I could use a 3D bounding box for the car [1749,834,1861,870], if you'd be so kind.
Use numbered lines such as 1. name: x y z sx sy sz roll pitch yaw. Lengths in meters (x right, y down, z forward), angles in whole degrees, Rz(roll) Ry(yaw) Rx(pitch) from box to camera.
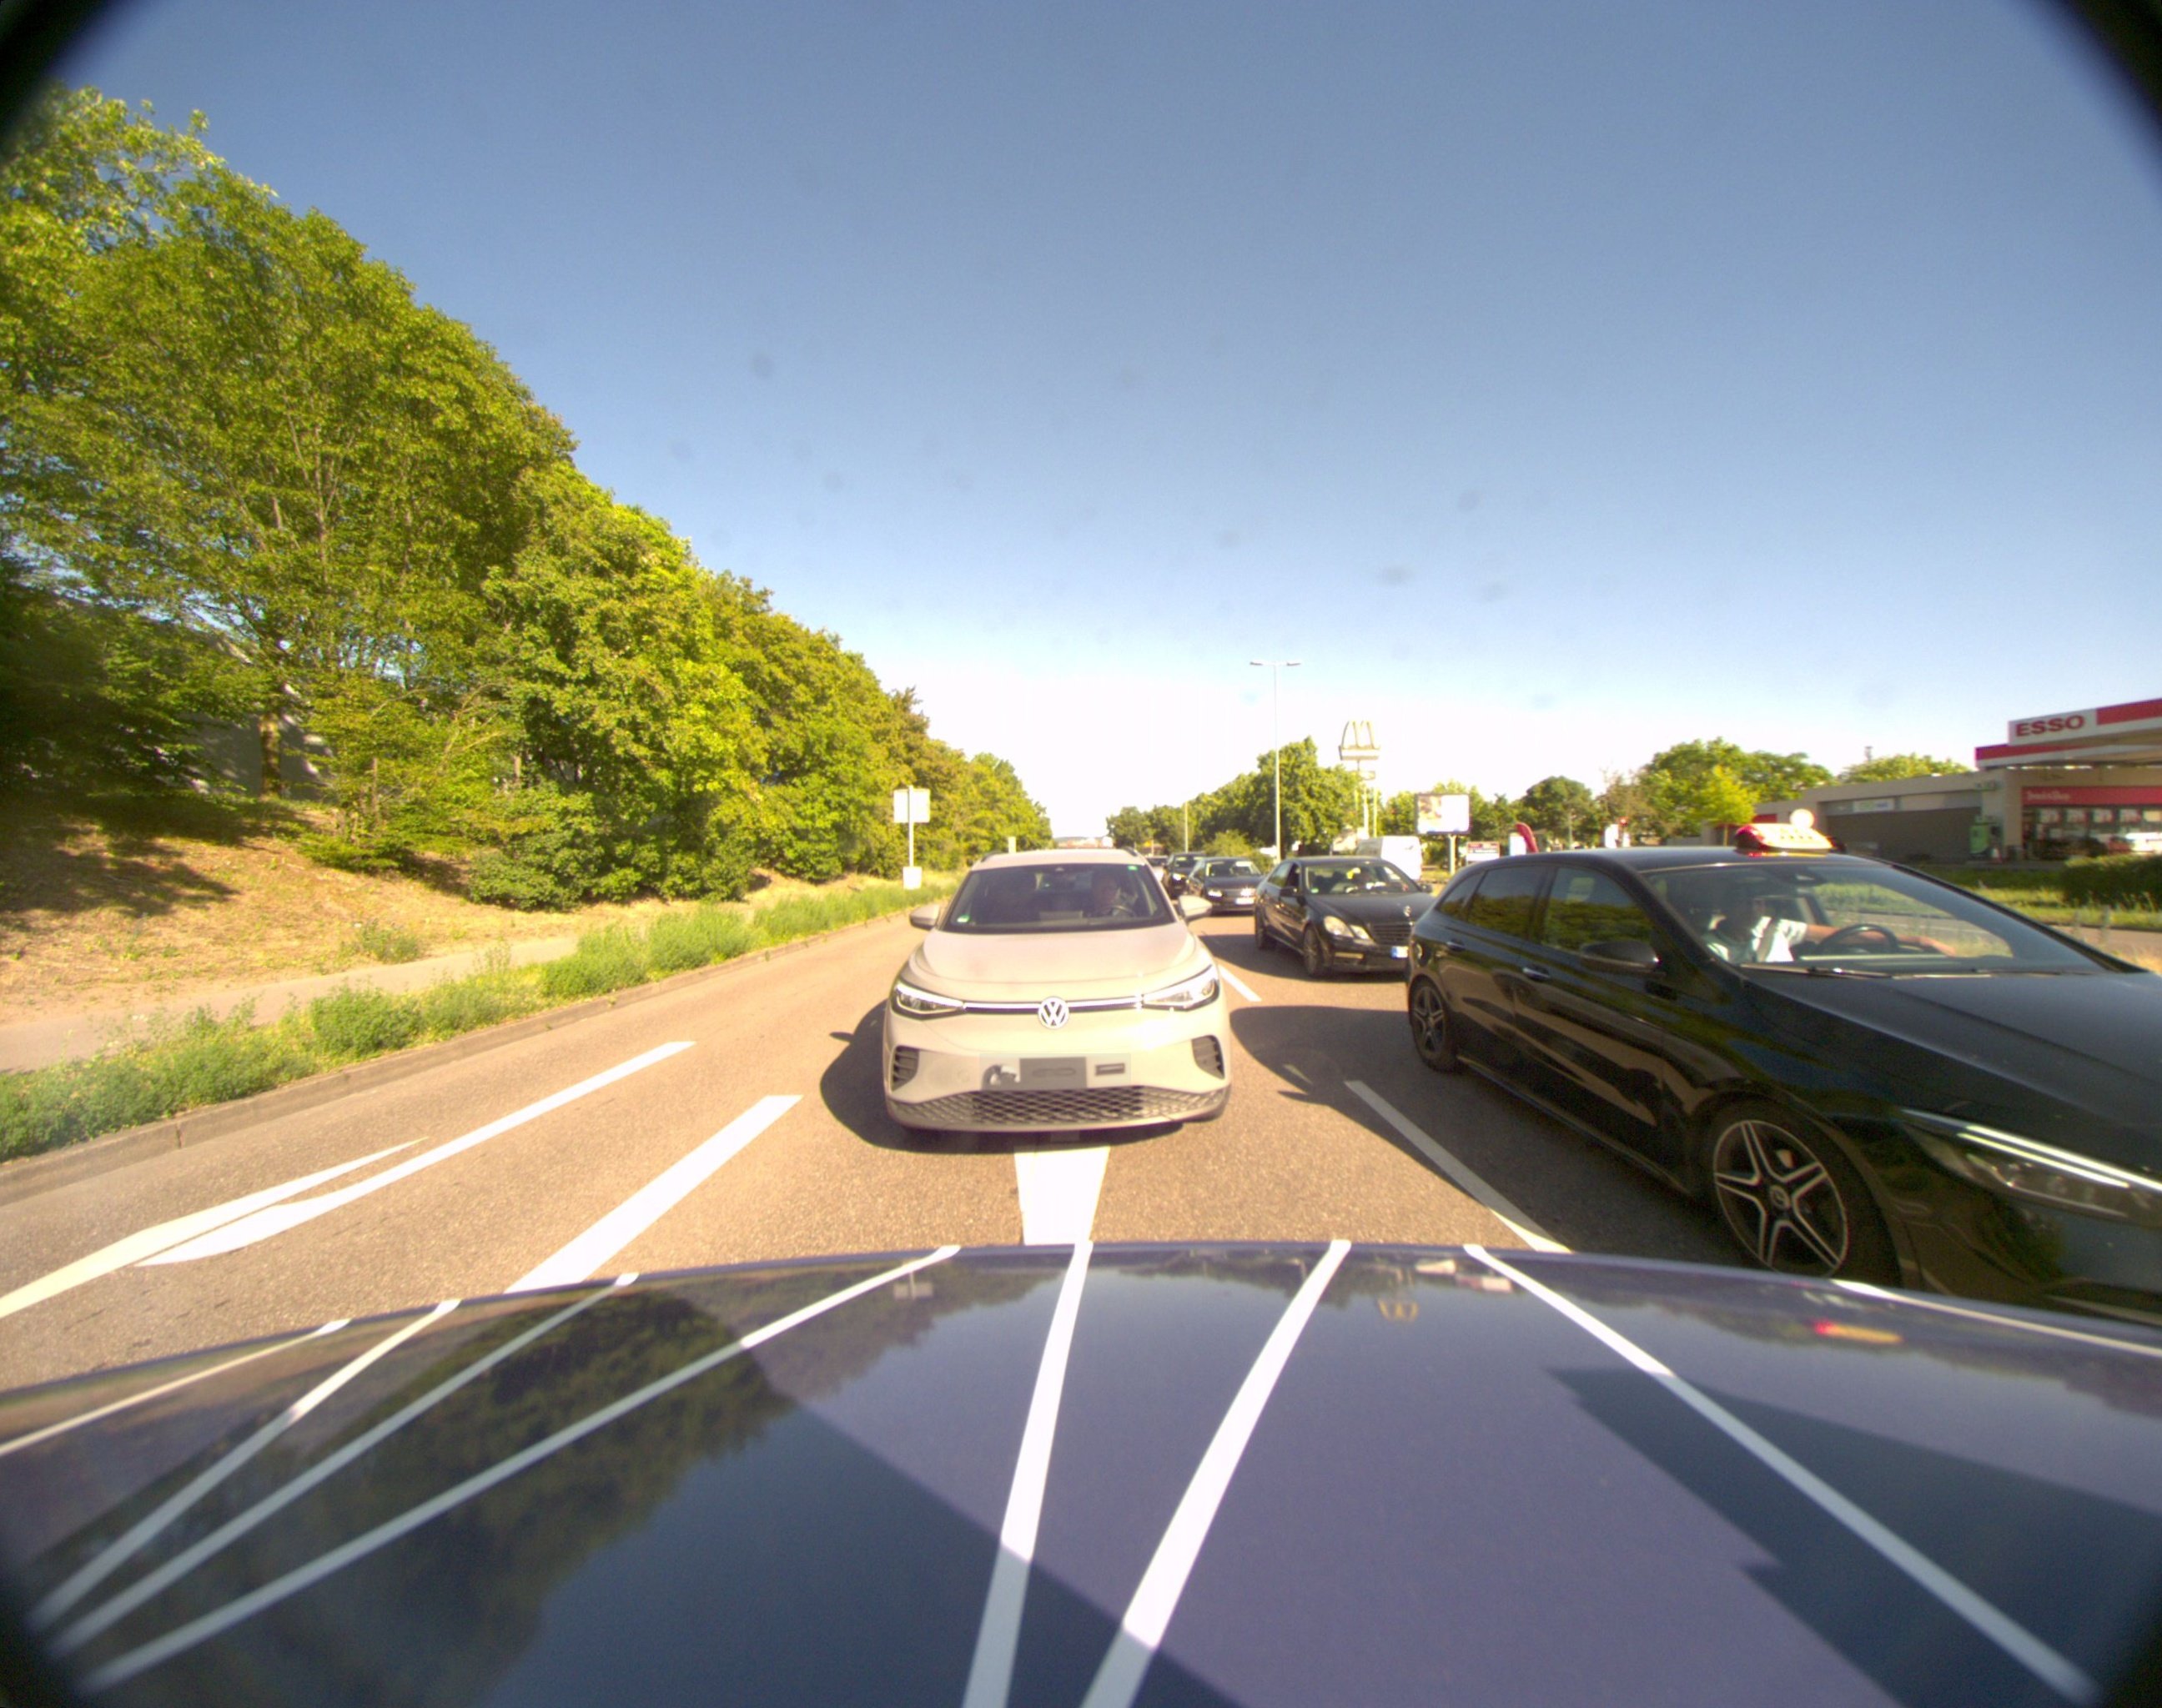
1. car: 37.696 -0.097 39.731 1.998 1.759 4.118 -2 0 2

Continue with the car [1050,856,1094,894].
1. car: -0.350 0.885 33.260 1.765 1.503 3.760 -2 0 1

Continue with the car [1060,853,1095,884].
1. car: -0.160 0.750 40.845 1.765 1.503 3.760 -2 0 1

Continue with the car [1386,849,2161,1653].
1. car: 3.153 0.808 3.611 1.804 1.616 4.188 -1 0 2

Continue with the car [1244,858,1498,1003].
1. car: 3.631 0.849 10.485 1.862 1.515 4.403 -1 0 1

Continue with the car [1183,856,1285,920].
1. car: 3.941 0.827 20.279 1.862 1.472 4.403 -1 0 1

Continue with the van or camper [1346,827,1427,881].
1. van or camper: 15.703 -0.015 39.510 2.182 2.557 6.757 -1 0 7

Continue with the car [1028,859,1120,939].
1. car: -0.117 0.897 16.822 1.765 1.503 3.760 -2 0 1

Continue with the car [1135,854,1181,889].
1. car: 3.700 0.798 37.282 1.862 1.578 4.403 -1 0 1

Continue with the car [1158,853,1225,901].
1. car: 3.956 0.772 27.834 1.862 1.578 4.403 -1 0 1

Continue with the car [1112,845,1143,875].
1. car: 3.770 0.481 63.023 2.289 2.274 5.381 -1 0 1

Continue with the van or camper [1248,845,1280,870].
1. van or camper: 20.319 0.340 84.598 1.999 2.635 5.956 1 0 0

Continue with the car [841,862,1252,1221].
1. car: -0.134 0.898 5.506 1.871 1.588 3.932 -2 0 1
